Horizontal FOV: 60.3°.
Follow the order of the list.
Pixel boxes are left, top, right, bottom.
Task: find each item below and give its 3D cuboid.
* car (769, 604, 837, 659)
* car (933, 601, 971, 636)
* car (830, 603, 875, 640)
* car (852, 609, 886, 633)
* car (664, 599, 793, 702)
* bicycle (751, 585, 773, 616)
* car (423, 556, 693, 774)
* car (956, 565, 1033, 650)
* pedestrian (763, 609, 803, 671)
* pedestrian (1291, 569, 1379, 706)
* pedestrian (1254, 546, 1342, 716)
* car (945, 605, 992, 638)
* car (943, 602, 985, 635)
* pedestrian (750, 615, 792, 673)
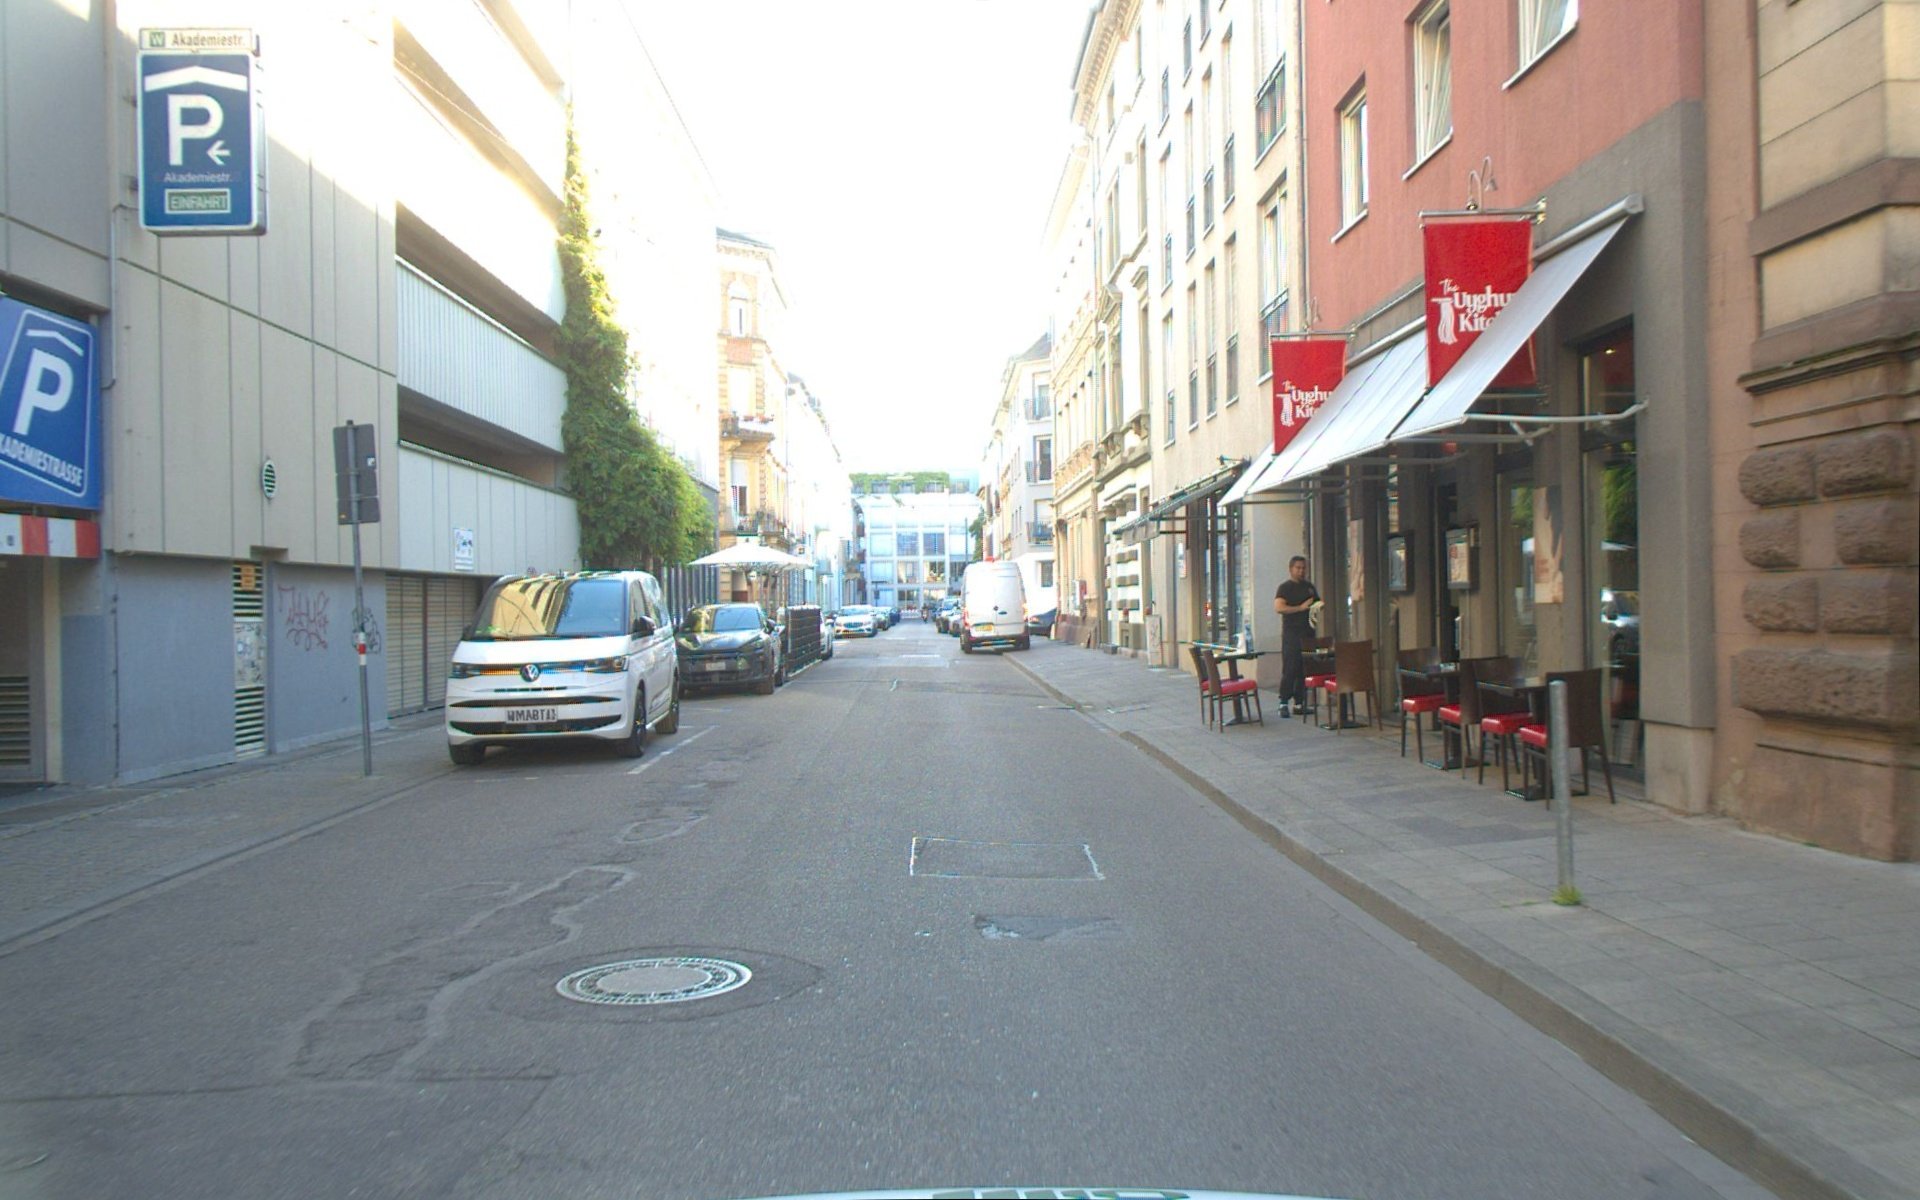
[{"bbox_3d":[-4.350,0.874,46.216,1.624,1.438,3.880,-1,-1,-2],"label":"car"},{"bbox_3d":[-0.444,0.979,88.026,1.855,1.815,3.998,-1,0,-2],"label":"car"},{"bbox_3d":[-5.015,0.988,77.497,1.954,1.591,4.503,-3,0,-3],"label":"car"},{"bbox_3d":[-5.501,1.263,100.388,1.953,1.378,4.427,-1,0,-2],"label":"car"},{"bbox_3d":[-4.083,0.847,29.816,1.844,1.595,4.767,-3,0,-3],"label":"car"},{"bbox_3d":[-6.048,0.028,50.540,0.584,0.921,1.642,-1,0,-4],"label":"bicycle"},{"bbox_3d":[-4.195,0.620,18.102,1.954,1.973,4.847,-3,0,-3],"label":"car"},{"bbox_3d":[1.002,0.240,52.032,2.230,2.482,6.202,-1,0,0],"label":"car"},{"bbox_3d":[-3.825,0.858,35.829,0.765,1.309,0.915,-1,0,-1],"label":"pedestrian"},{"bbox_3d":[4.336,0.422,19.161,0.808,1.511,0.661,-3,2,-3],"label":"pedestrian"},{"bbox_3d":[3.774,0.340,18.504,0.714,1.824,0.659,-4,0,-3],"label":"pedestrian"},{"bbox_3d":[0.367,0.954,76.559,1.899,1.396,3.787,-3,0,-3],"label":"car"},{"bbox_3d":[0.187,0.913,82.625,1.924,1.584,3.887,-1,0,-2],"label":"car"},{"bbox_3d":[-3.980,0.919,34.835,0.542,1.186,0.740,-1,0,31],"label":"pedestrian"}]
